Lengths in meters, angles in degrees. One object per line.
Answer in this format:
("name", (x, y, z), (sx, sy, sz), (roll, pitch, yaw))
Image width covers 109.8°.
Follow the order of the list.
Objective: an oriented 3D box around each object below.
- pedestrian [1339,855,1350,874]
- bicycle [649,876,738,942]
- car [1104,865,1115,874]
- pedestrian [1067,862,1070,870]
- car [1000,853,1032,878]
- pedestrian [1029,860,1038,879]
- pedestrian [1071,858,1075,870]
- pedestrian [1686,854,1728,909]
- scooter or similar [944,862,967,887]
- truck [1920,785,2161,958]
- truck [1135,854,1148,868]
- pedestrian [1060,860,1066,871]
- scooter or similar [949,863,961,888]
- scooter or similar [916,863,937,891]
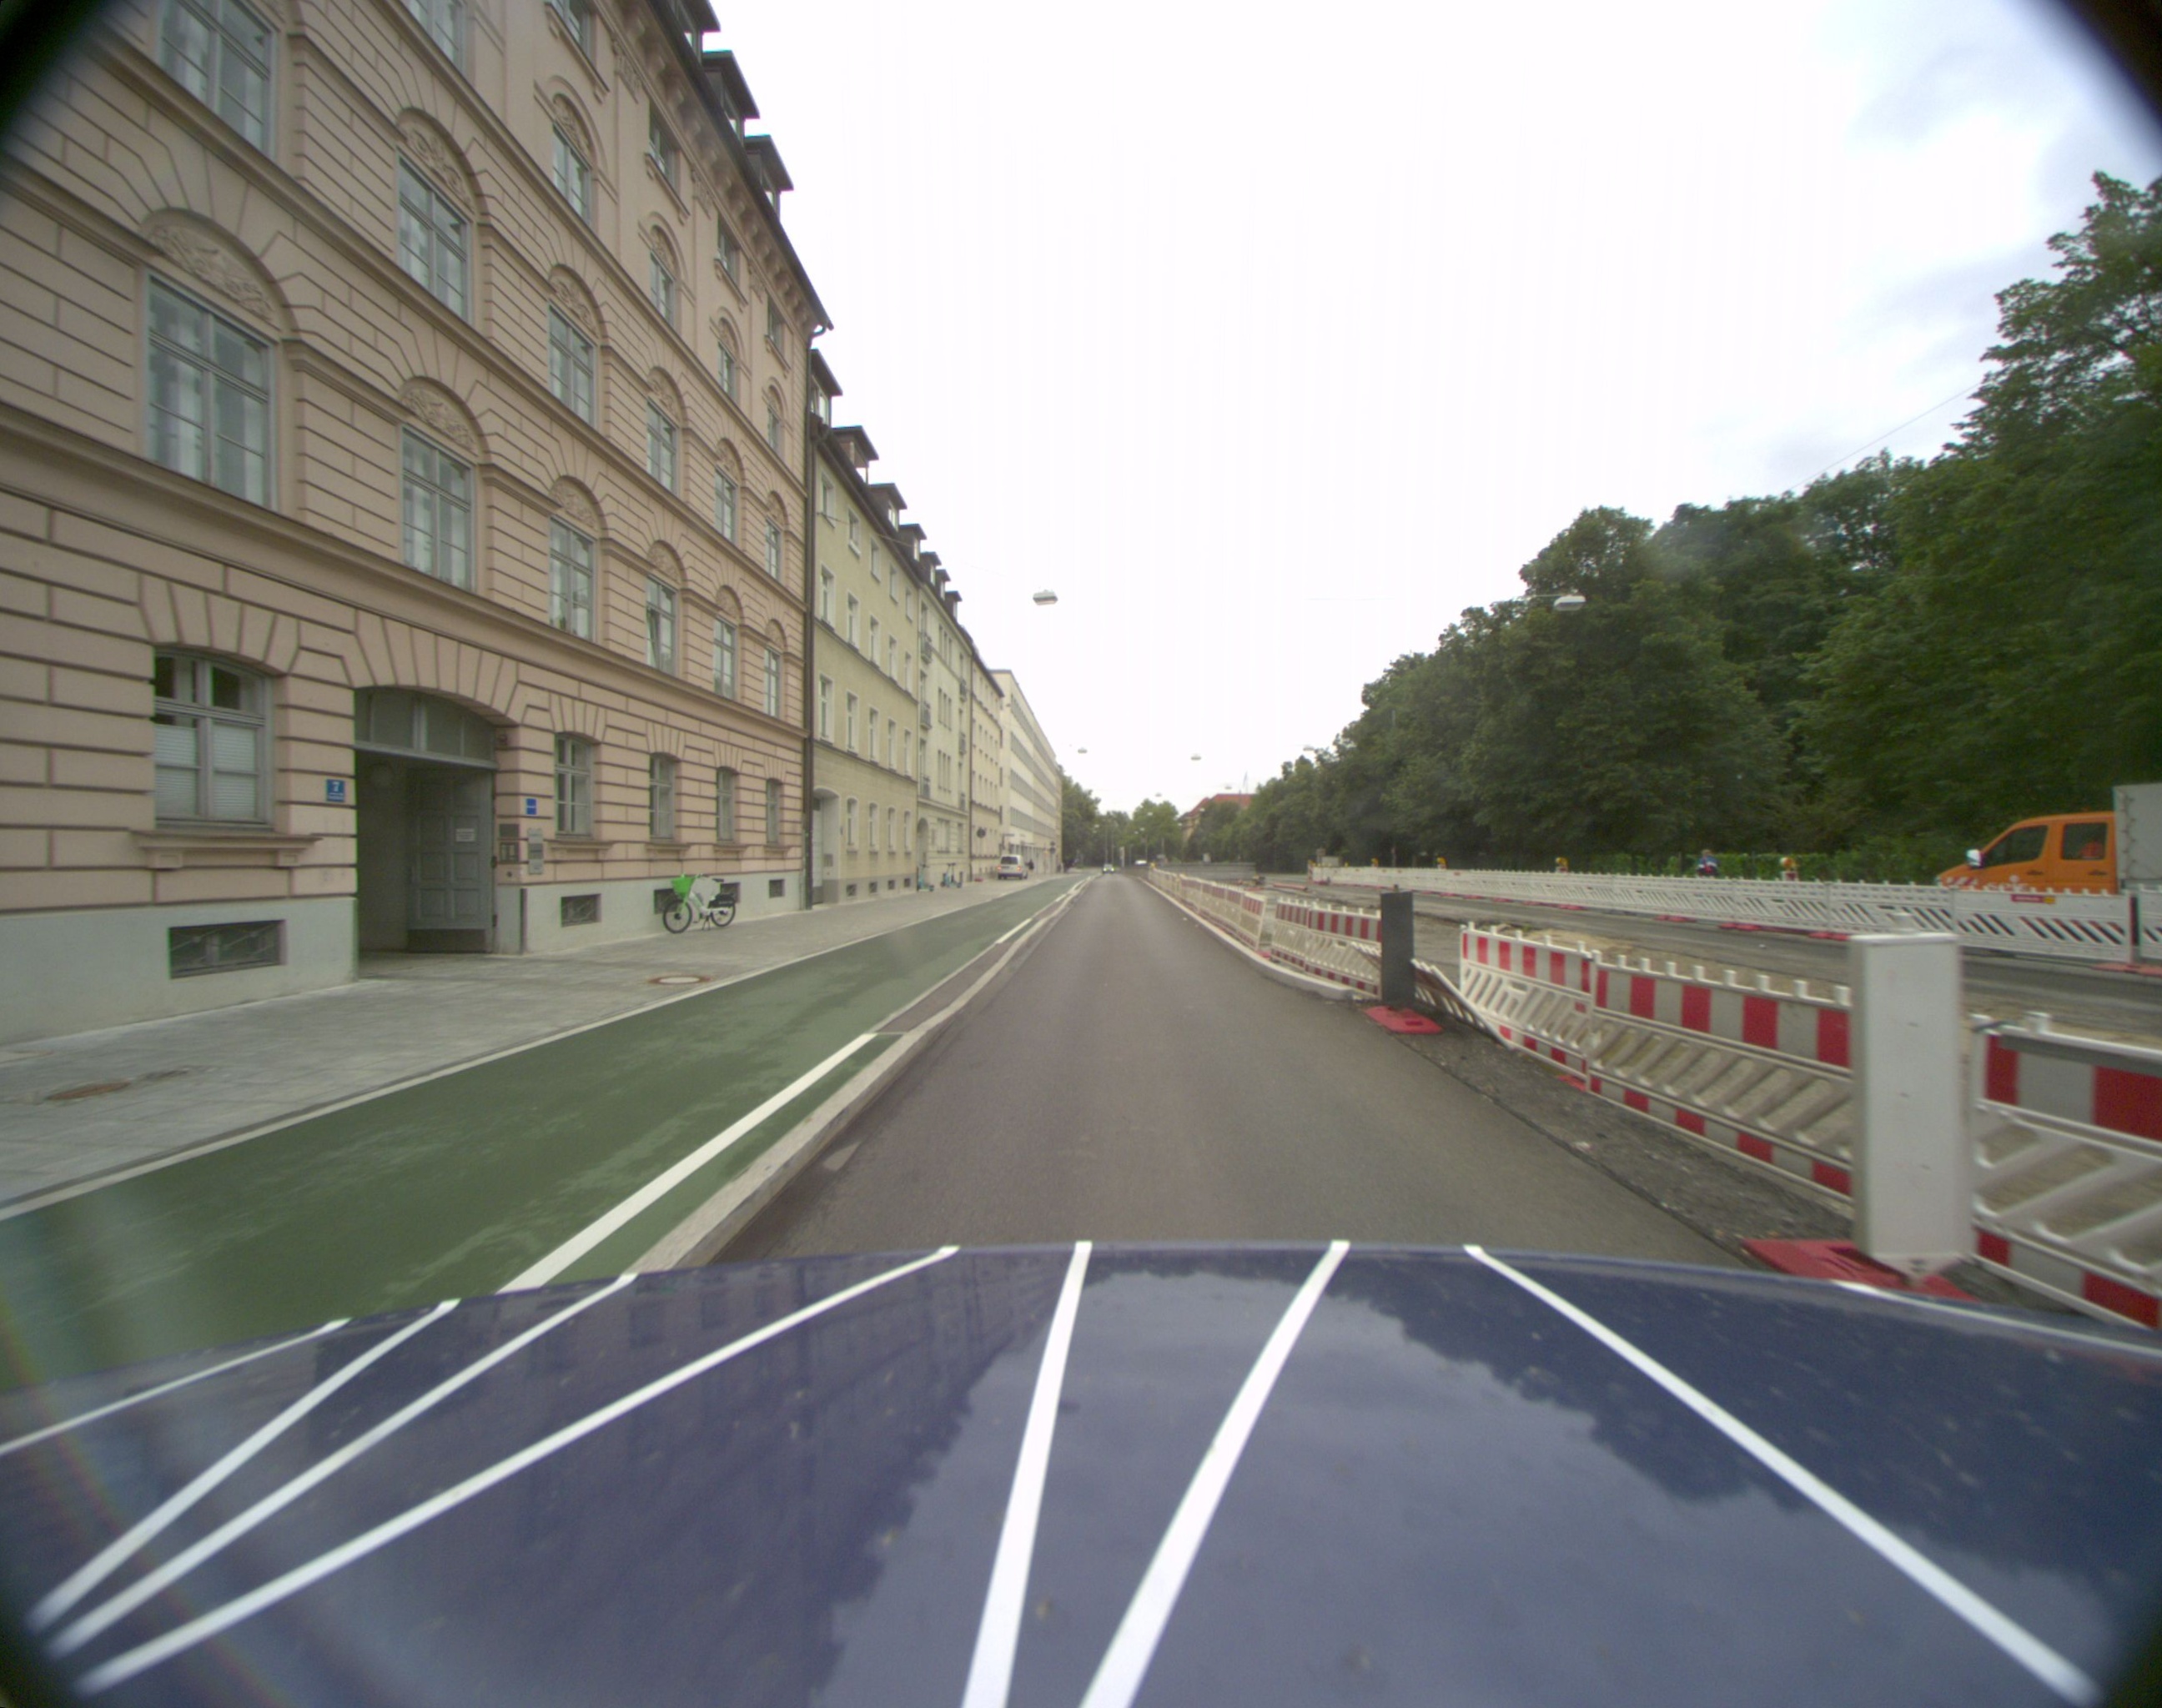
("pedestrian", (22.698, 0.900, 65.420), (0.664, 1.631, 0.698), (-1, 0, 3))
("bicycle", (-7.587, 1.045, 14.954), (0.426, 1.167, 1.734), (1, 0, 19))
("car", (5.474, 2.912, 144.198), (1.998, 1.738, 4.000), (-1, 0, 1))
("pedestrian", (-1.886, 1.799, 115.869), (0.367, 1.239, 0.470), (4, 0, 2))
("car", (-4.766, 0.830, 56.226), (1.737, 1.739, 4.436), (1, 0, 2))
("pedestrian", (-4.165, 1.386, 67.006), (0.666, 1.626, 0.737), (1, 0, 2))
("pedestrian", (-1.179, 1.558, 115.803), (0.514, 1.825, 0.602), (4, 0, 2))
("pedestrian", (18.501, 0.801, 22.460), (0.664, 1.593, 0.698), (-1, 0, 3))
("scooter or similar", (-6.353, 1.025, 38.481), (1.121, 1.224, 0.246), (2, 1, -31))
("truck", (18.029, 0.279, 12.583), (1.998, 2.712, 5.871), (0, 0, 3))
("truck", (11.361, 1.346, 142.367), (2.058, 2.625, 4.412), (0, 0, 1))
("pedestrian", (-2.757, 1.753, 116.993), (0.753, 1.610, 0.704), (4, 0, 2))
("scooter or similar", (-6.548, 1.113, 39.552), (0.387, 1.265, 1.119), (2, 1, 2))
("scooter or similar", (-6.826, 1.015, 33.620), (0.246, 1.224, 1.122), (3, 1, 28))
